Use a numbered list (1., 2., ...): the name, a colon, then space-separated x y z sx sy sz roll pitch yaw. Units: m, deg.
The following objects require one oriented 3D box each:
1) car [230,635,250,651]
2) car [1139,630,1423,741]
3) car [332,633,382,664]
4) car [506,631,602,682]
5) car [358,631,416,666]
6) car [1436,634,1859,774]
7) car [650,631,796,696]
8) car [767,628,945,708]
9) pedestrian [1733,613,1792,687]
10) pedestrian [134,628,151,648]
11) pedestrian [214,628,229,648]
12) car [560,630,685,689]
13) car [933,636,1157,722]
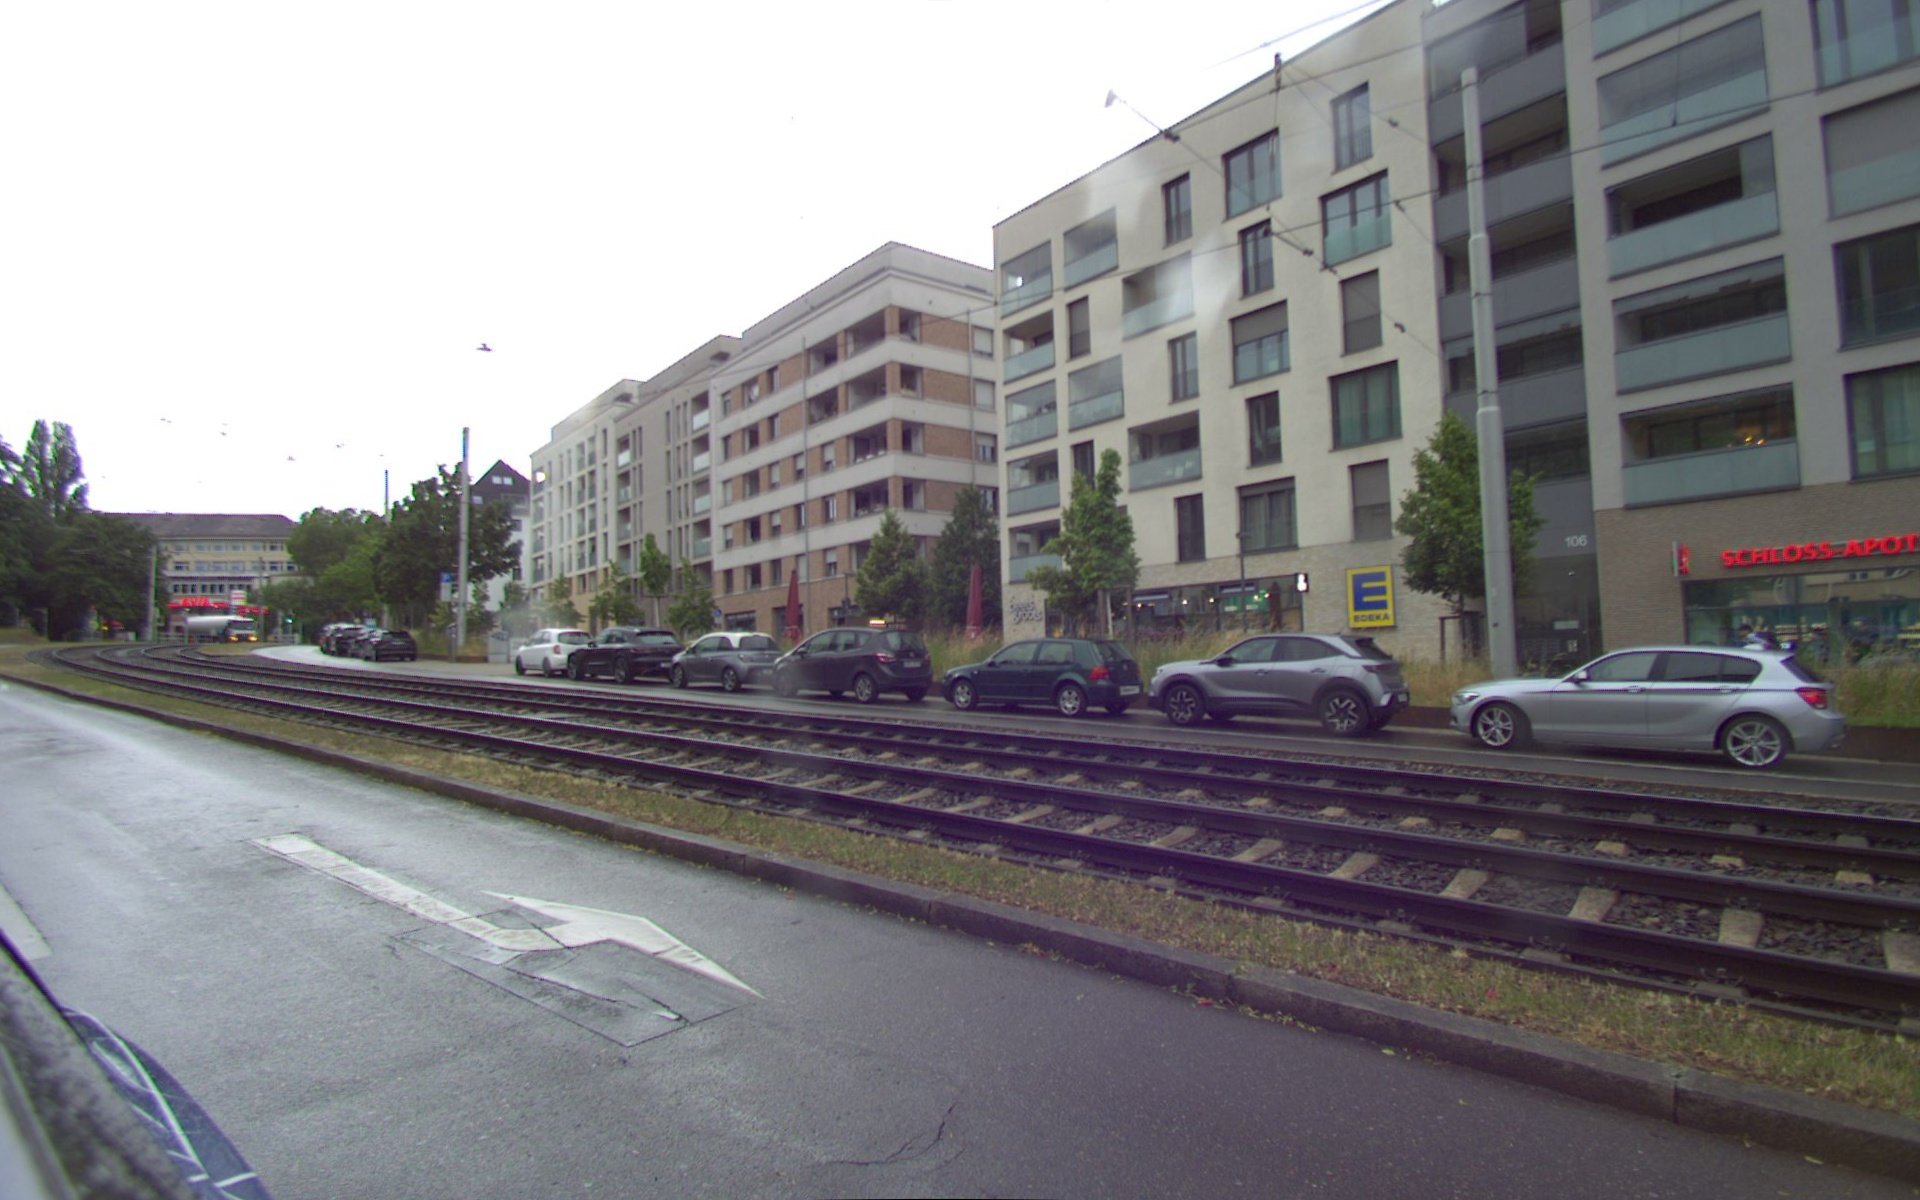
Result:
1. car: -80.417 4.786 113.054 1.641 1.619 3.818 -1 0 -34
2. car: 5.080 1.269 16.271 4.042 1.541 1.665 -1 -1 36
3. car: -31.547 2.504 52.877 1.630 1.475 3.676 -1 0 -40
4. car: -13.191 1.785 32.777 1.627 1.516 3.784 0 -1 -44
5. car: -26.442 2.205 46.674 1.630 1.475 3.676 -1 0 -40
6. car: 8.718 1.208 13.135 4.326 1.475 1.663 -1 -1 40
7. car: -6.135 1.572 26.036 3.926 1.516 1.663 -1 -1 40
8. car: -2.351 1.424 22.359 3.926 1.575 1.663 -1 -1 40
9. pedestrian: 16.448 1.000 20.747 0.647 1.460 0.805 -1 0 -37
10. pedestrian: -73.018 3.420 90.441 0.805 1.777 0.750 2 -4 -10
11. pedestrian: -68.274 3.510 93.526 0.747 1.777 0.809 -1 -5 33
12. car: -9.812 1.649 29.216 1.660 1.516 4.408 0 -1 -44
13. car: 1.538 1.415 19.215 4.030 1.391 1.663 -1 -1 40
